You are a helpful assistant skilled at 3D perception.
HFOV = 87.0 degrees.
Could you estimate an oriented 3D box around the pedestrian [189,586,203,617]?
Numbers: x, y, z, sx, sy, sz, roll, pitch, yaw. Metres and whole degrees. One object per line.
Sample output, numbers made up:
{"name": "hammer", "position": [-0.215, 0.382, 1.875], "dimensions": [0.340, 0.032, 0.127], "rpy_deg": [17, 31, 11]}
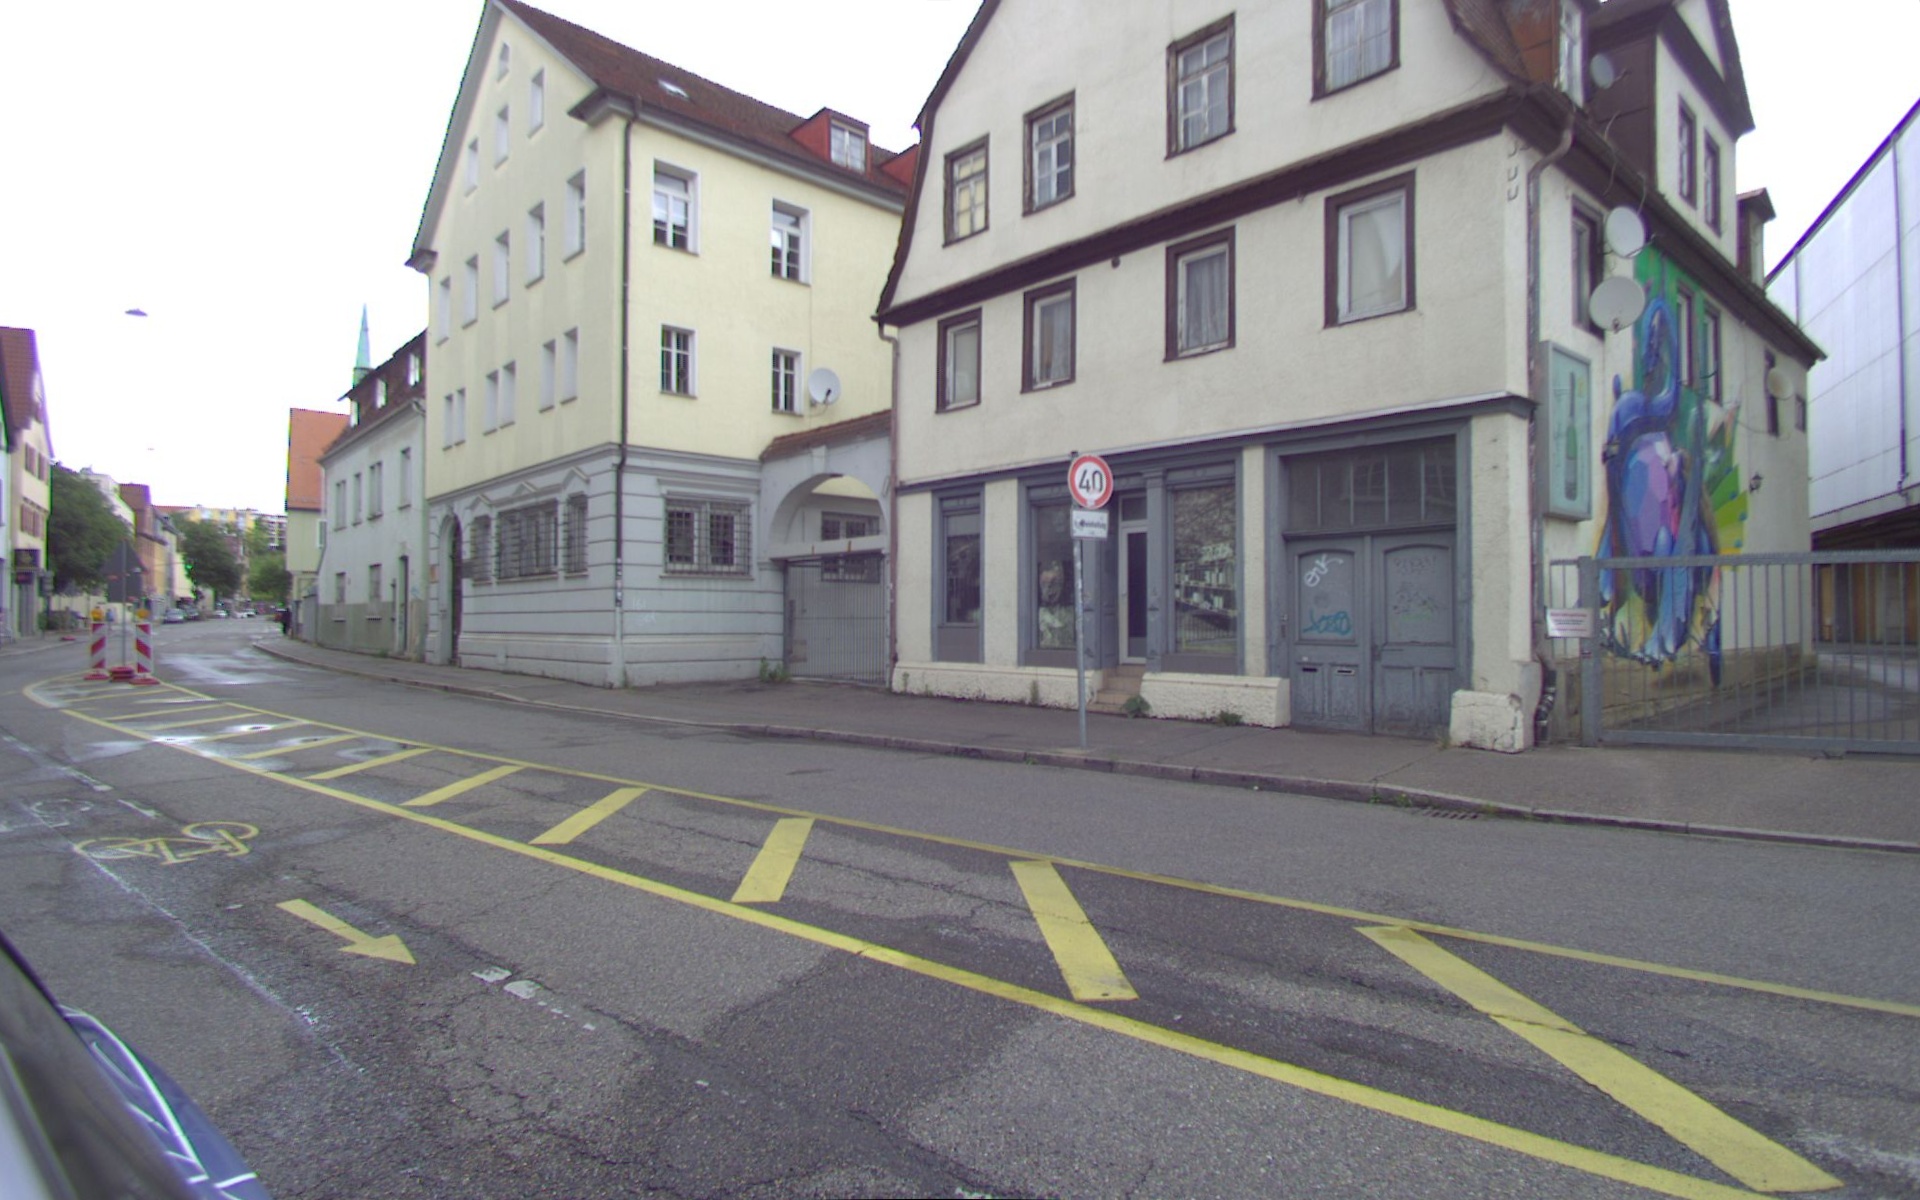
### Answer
{"name": "pedestrian", "position": [-44.921, 0.093, 59.516], "dimensions": [0.584, 1.794, 0.505], "rpy_deg": [2, -4, -43]}
